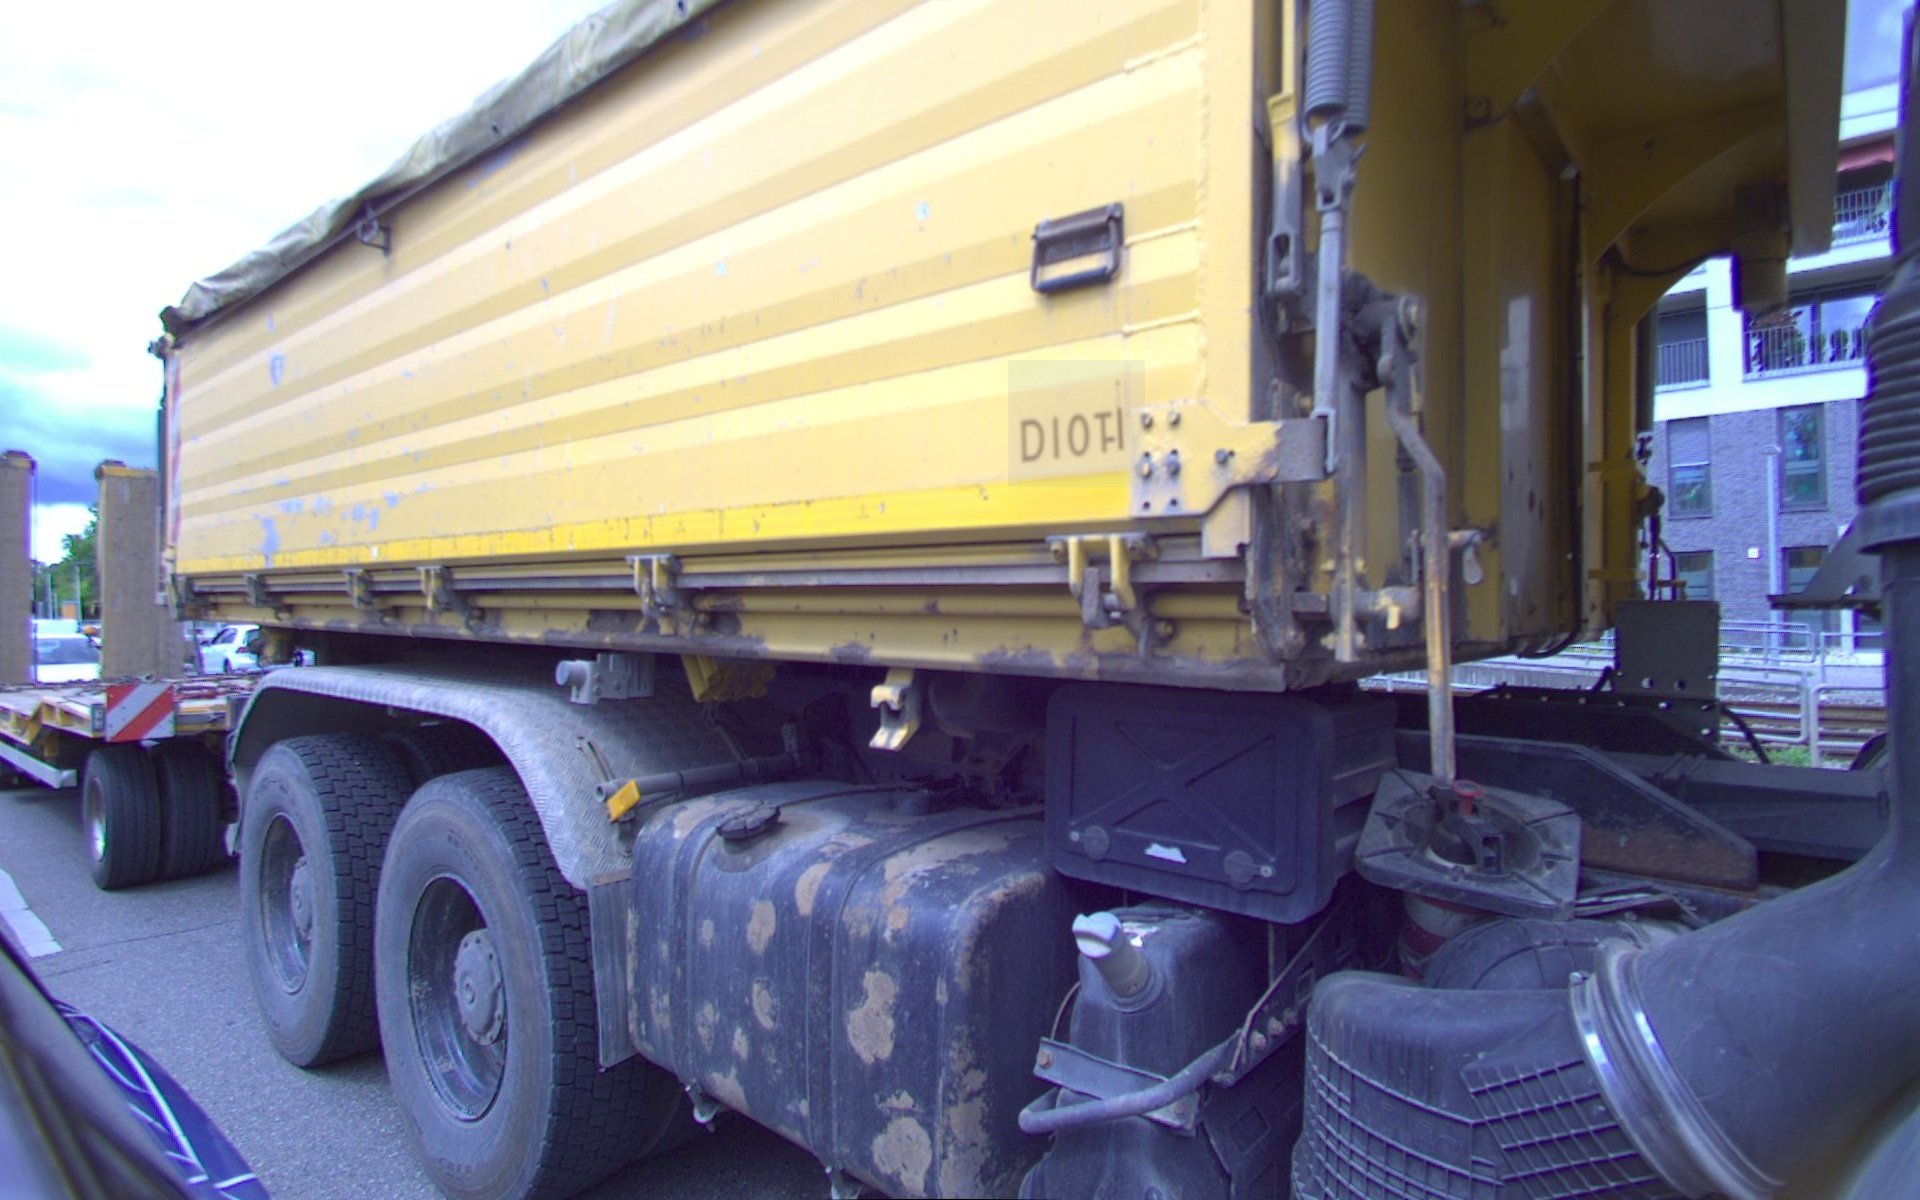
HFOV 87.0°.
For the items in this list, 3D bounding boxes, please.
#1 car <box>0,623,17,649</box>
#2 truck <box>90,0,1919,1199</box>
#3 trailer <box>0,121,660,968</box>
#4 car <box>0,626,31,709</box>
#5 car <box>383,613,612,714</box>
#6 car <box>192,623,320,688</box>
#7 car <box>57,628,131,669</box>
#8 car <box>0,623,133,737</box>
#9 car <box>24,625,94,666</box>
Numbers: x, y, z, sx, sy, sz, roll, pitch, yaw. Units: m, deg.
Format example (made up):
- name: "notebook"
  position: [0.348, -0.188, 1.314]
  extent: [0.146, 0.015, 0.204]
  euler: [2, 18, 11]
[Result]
- name: "car"
  position: [-57.549, 2.133, 60.318]
  extent: [3.552, 1.509, 1.623]
  euler: [-2, -1, 41]
- name: "truck"
  position: [0.164, -0.035, 2.688]
  extent: [7.775, 3.026, 2.692]
  euler: [-1, 0, 41]
- name: "trailer"
  position: [-6.853, -0.137, 8.857]
  extent: [10.909, 3.548, 2.678]
  euler: [-2, -1, 41]
- name: "car"
  position: [-19.559, 1.295, 19.769]
  extent: [3.998, 1.490, 1.671]
  euler: [-1, 0, 41]
- name: "car"
  position: [-7.853, 1.013, 17.061]
  extent: [4.036, 1.480, 1.761]
  euler: [-2, -1, 36]
- name: "car"
  position: [-17.639, 1.337, 25.271]
  extent: [4.278, 1.452, 1.743]
  euler: [-2, -1, 43]
- name: "car"
  position: [-33.441, 1.853, 39.056]
  extent: [3.564, 1.469, 1.683]
  euler: [-2, -1, 41]
- name: "car"
  position: [-14.196, 1.133, 15.544]
  extent: [3.998, 1.490, 1.671]
  euler: [-1, 0, 41]
- name: "car"
  position: [-42.530, 2.133, 47.734]
  extent: [4.861, 1.785, 1.863]
  euler: [-2, -1, 41]
